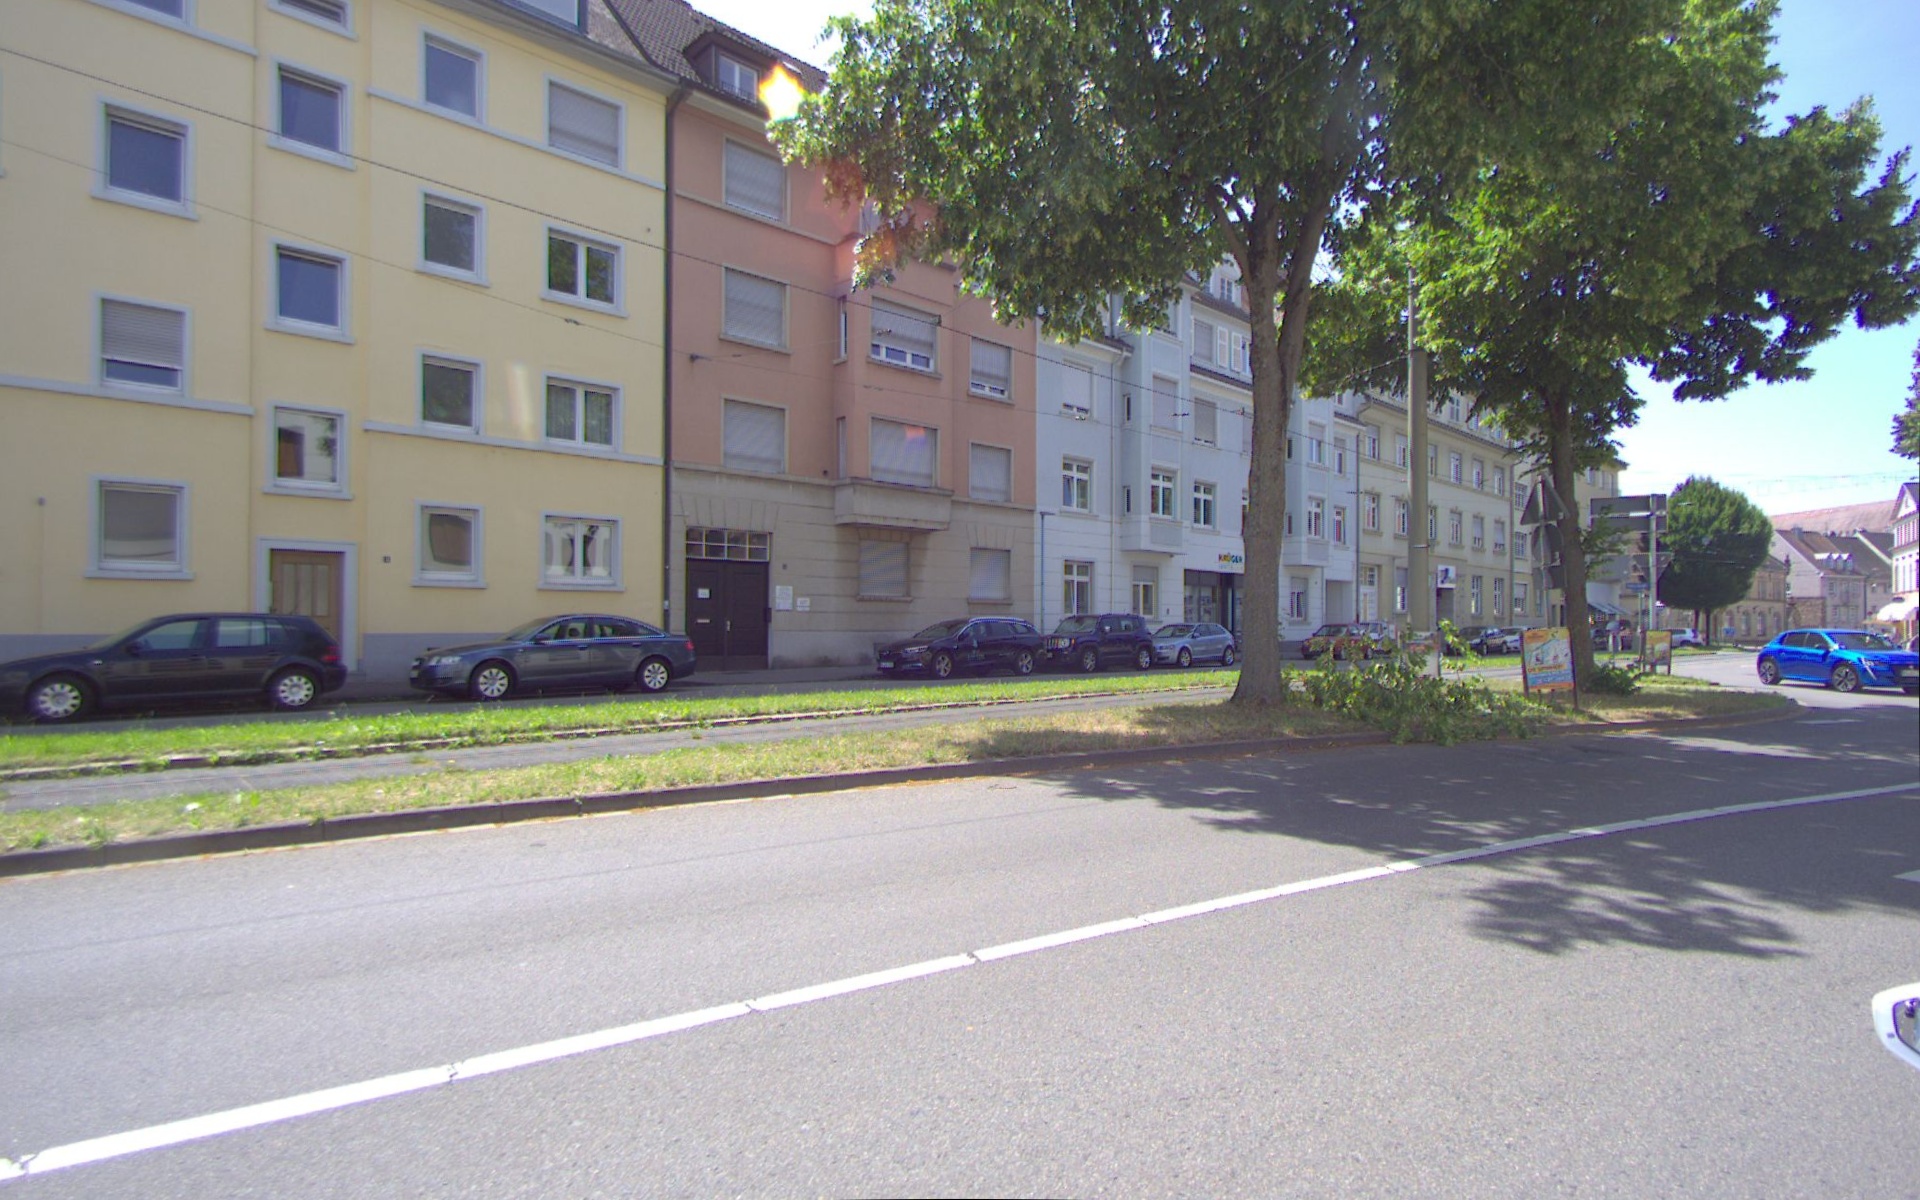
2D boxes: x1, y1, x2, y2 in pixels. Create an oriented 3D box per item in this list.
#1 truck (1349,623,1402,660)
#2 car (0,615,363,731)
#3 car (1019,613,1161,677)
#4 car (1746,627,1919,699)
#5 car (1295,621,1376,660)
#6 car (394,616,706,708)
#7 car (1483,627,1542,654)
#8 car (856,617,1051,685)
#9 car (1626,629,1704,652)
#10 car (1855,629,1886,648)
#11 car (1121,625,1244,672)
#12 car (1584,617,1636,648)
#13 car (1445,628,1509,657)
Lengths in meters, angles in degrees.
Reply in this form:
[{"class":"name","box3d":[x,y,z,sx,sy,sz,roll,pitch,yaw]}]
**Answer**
[{"class":"truck","box3d":[17.515,1.742,42.333,2.577,1.514,1.115,1,-3,-45]},{"class":"car","box3d":[-11.035,0.964,14.276,4.113,1.418,1.813,1,-3,-43]},{"class":"car","box3d":[3.759,1.267,28.593,4.114,1.707,1.819,1,-3,-44]},{"class":"car","box3d":[21.287,1.459,24.365,1.778,1.512,4.002,0,-1,10]},{"class":"car","box3d":[14.708,1.583,39.262,3.601,1.470,1.556,1,-3,-44]},{"class":"car","box3d":[-7.175,1.043,17.928,4.828,1.416,1.910,1,-3,-43]},{"class":"car","box3d":[29.489,2.141,53.538,3.831,1.408,1.670,1,-3,-44]},{"class":"car","box3d":[-0.075,1.231,24.859,4.829,1.510,1.909,1,-3,-44]},{"class":"car","box3d":[48.514,2.786,69.129,4.158,1.524,1.993,-3,-3,43]},{"class":"car","box3d":[77.722,3.270,85.771,1.838,1.506,3.981,0,-1,40]},{"class":"car","box3d":[7.112,1.515,31.916,4.221,1.374,1.790,1,-3,-44]},{"class":"car","box3d":[43.072,2.152,66.536,4.738,1.936,1.836,1,-3,-44]},{"class":"car","box3d":[25.619,2.092,49.727,3.831,1.378,1.670,1,-3,-44]}]
